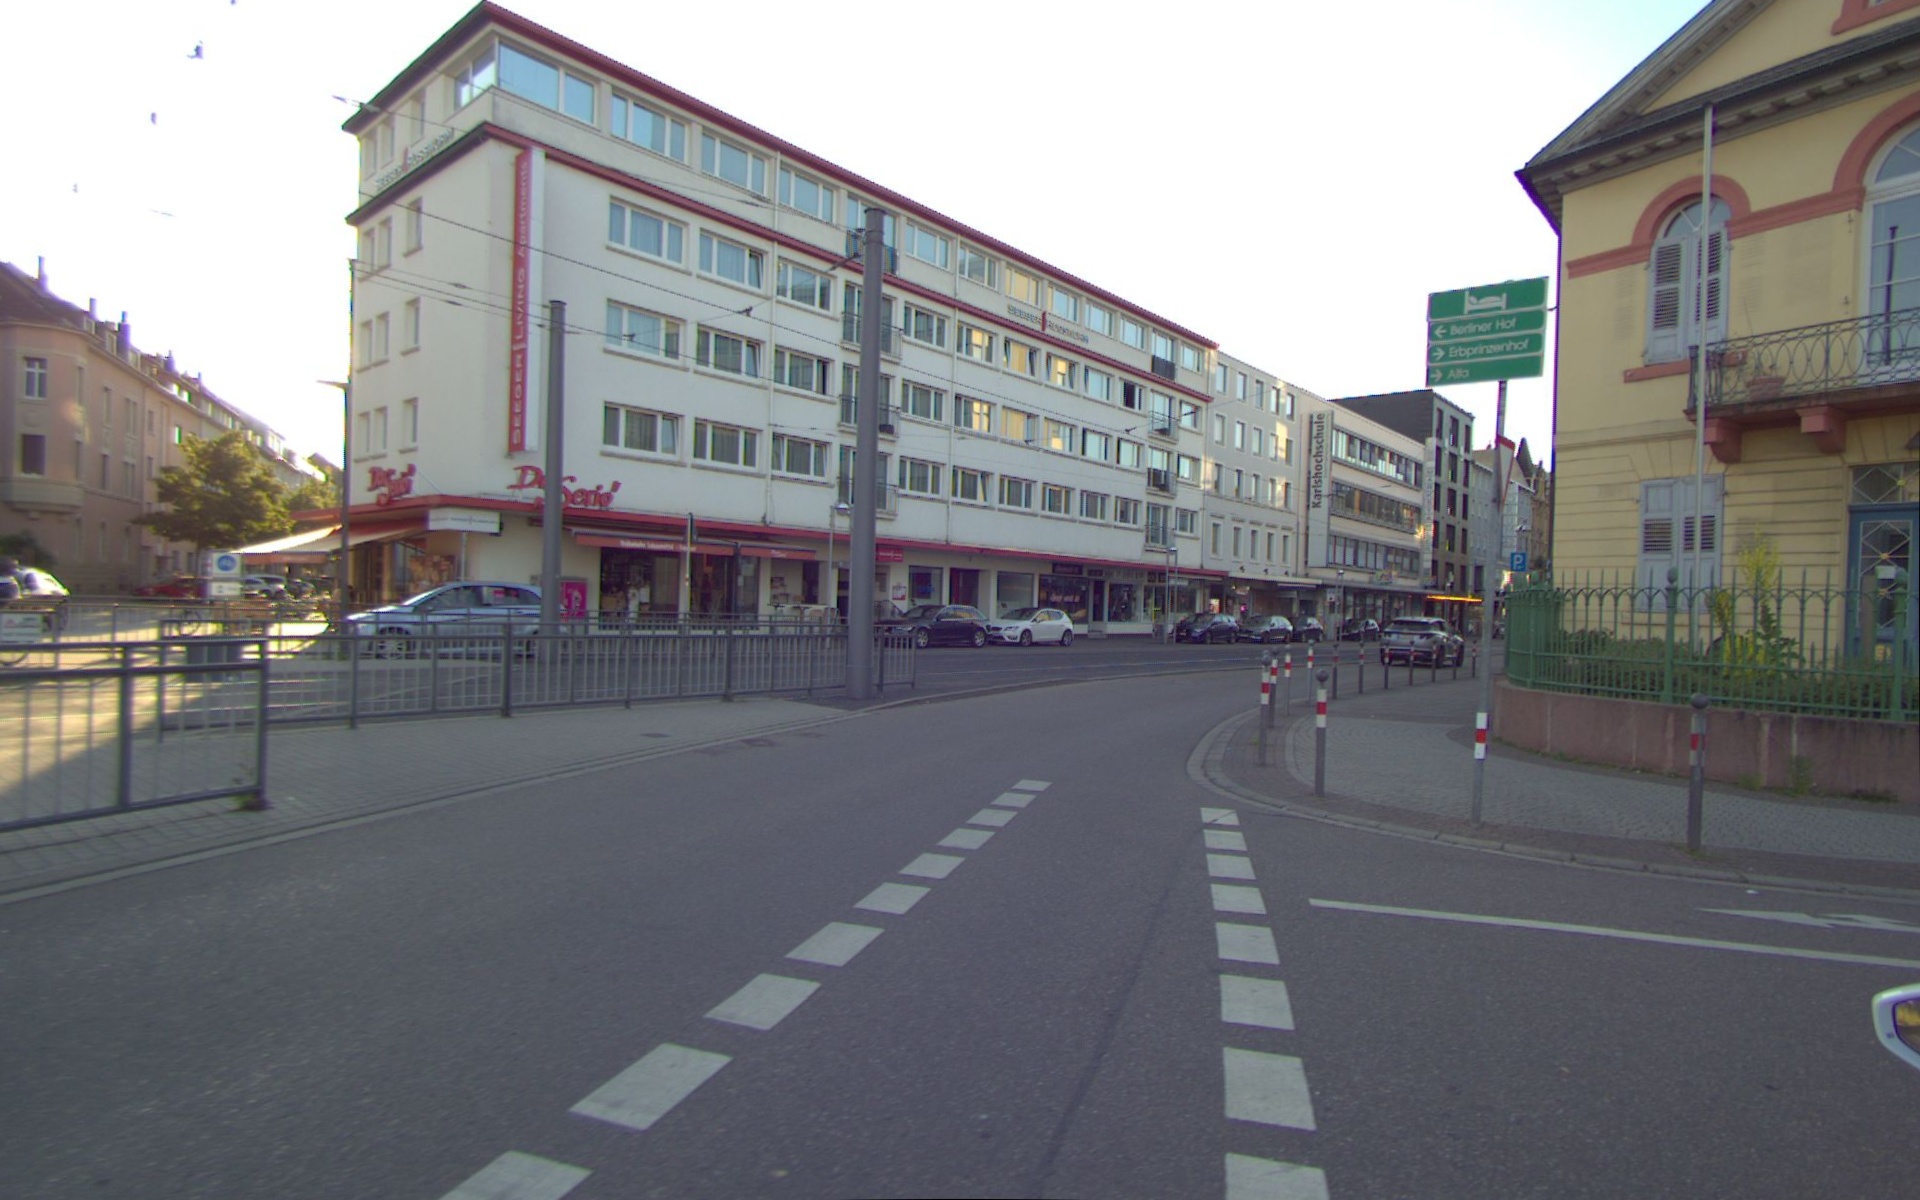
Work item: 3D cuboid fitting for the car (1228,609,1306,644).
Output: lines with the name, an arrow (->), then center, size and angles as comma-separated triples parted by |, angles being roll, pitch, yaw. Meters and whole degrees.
car -> 16.160, 1.417, 52.741 | 1.973, 1.688, 4.610 | 2, 0, 44

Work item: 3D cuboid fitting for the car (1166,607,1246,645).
car -> 11.904, 1.275, 48.506 | 1.973, 1.688, 3.976 | 2, 0, 44

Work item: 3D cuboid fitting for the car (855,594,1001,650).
car -> -0.988, 0.745, 33.310 | 1.973, 1.688, 4.810 | 2, 0, 44

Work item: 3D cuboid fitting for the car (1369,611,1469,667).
car -> 15.549, 1.301, 33.901 | 1.920, 1.683, 4.515 | 4, 1, 39

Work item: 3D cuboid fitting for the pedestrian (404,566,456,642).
pedestrian -> -13.011, 0.088, 24.654 | 0.840, 1.812, 0.809 | 2, 0, 38

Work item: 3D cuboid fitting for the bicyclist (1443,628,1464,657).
bicyclist -> 36.663, 3.131, 74.569 | 1.152, 2.040, 1.041 | 2, 0, 39

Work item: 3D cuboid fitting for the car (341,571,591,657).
car -> -10.020, 0.309, 20.456 | 4.240, 1.580, 2.182 | 2, 0, -36

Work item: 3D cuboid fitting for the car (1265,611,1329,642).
car -> 19.462, 1.547, 57.984 | 1.973, 1.688, 3.976 | 2, 0, 44

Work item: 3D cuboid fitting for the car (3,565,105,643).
car -> -25.613, 0.078, 28.370 | 1.987, 2.040, 3.948 | 2, 0, -44

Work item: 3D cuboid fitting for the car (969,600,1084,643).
car -> 2.578, 0.841, 37.991 | 1.973, 1.484, 4.375 | 2, 0, 44

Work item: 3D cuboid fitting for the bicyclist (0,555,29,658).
bicyclist -> -14.087, 0.076, 14.256 | 0.913, 1.460, 0.835 | 2, 0, -4

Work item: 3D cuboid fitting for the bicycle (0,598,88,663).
bicycle -> -14.005, 0.396, 14.270 | 2.376, 0.858, 0.846 | 2, 0, -5

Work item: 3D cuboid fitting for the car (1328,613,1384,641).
car -> 25.577, 1.743, 64.796 | 1.973, 1.688, 3.976 | 2, 0, 44
